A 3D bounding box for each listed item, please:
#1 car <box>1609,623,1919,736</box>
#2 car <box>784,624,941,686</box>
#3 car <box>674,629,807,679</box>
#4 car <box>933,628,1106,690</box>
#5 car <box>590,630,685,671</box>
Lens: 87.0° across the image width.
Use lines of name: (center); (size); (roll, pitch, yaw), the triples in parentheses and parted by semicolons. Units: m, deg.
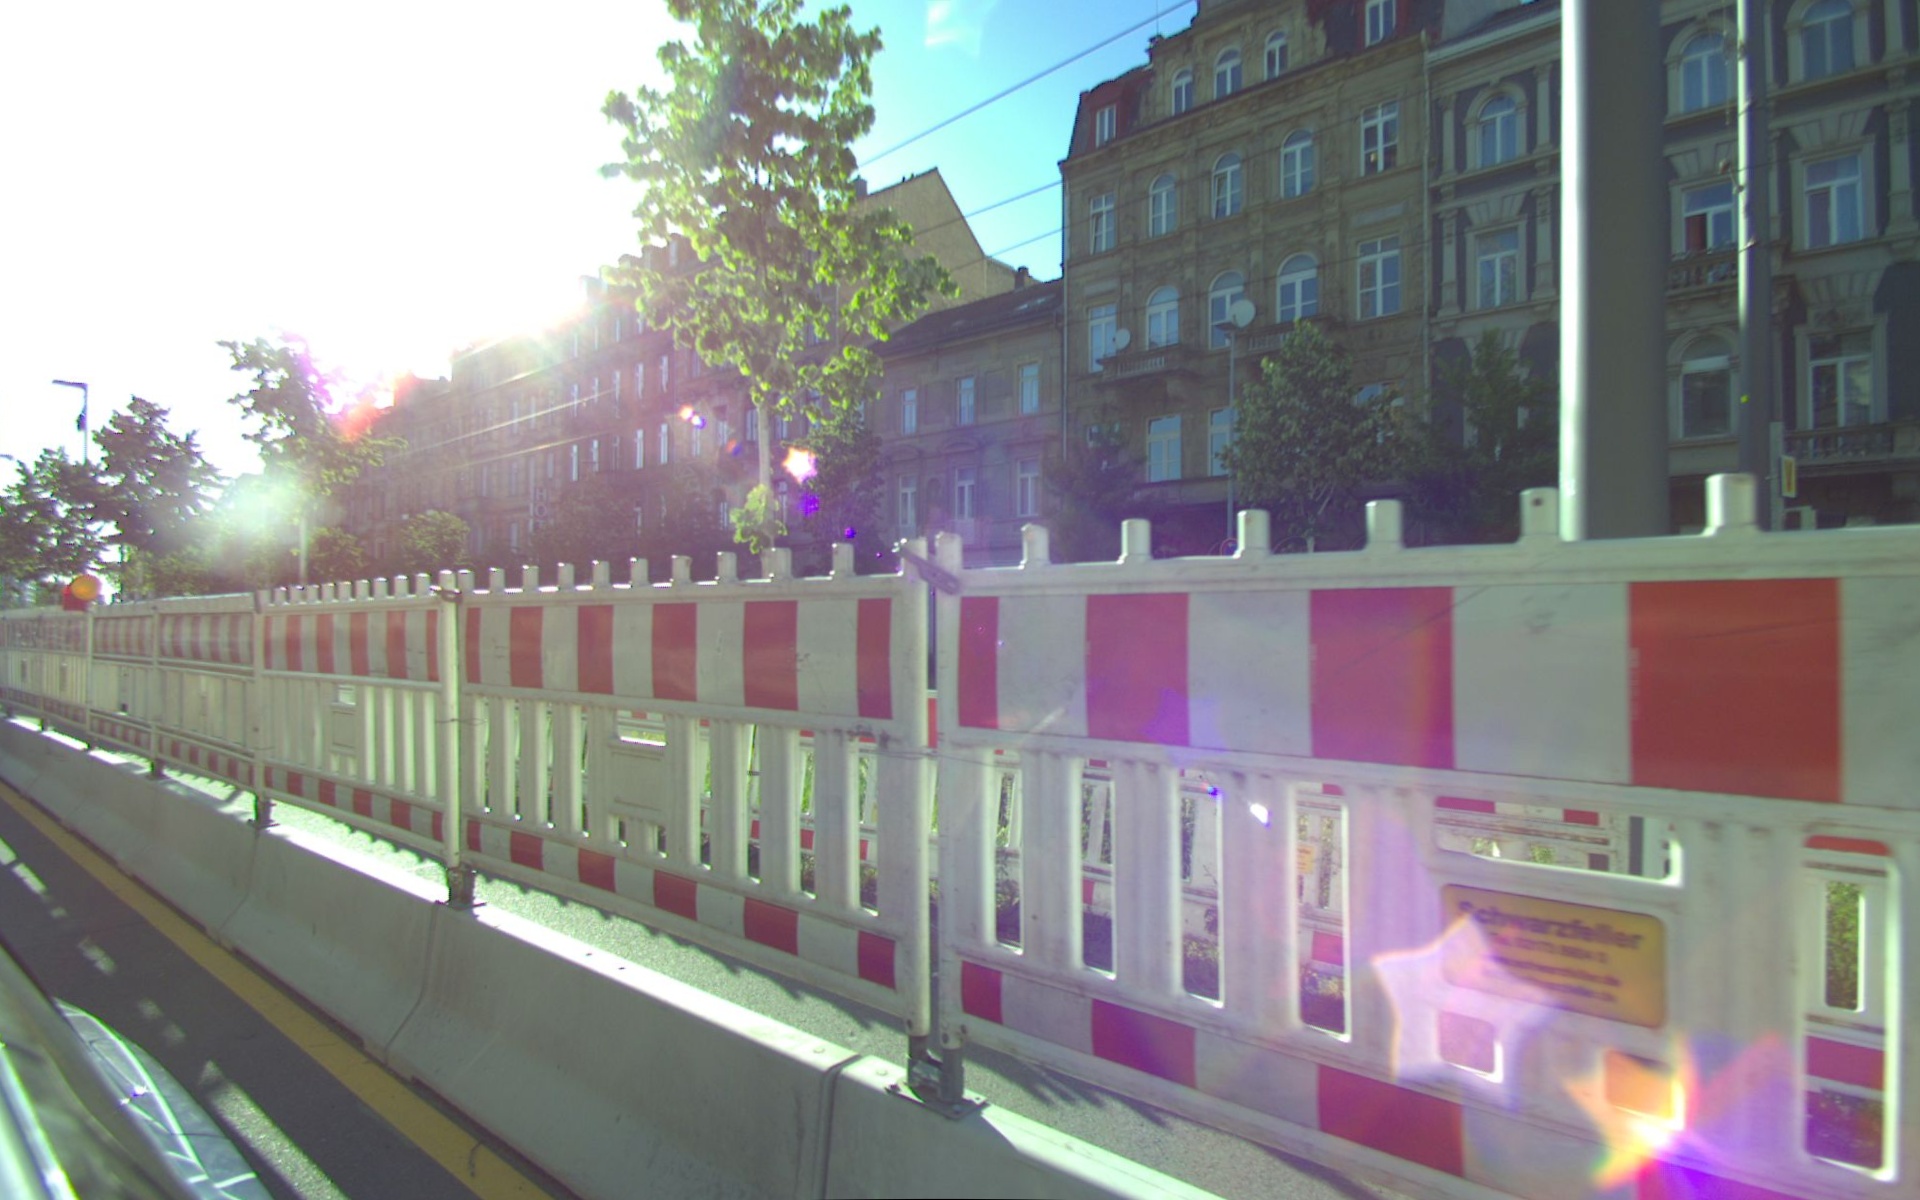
car: (14.105, 1.270, 17.541); (4.544, 1.671, 1.917); (-1, 0, 43)
car: (-3.090, 1.625, 31.346); (4.884, 1.710, 1.973); (-1, 0, 40)
car: (-7.756, 1.840, 35.536); (4.982, 1.549, 1.973); (-1, 0, 41)
car: (1.543, 1.517, 27.163); (4.305, 1.449, 1.973); (-1, 0, 40)
car: (-12.759, 1.948, 39.965); (4.026, 1.490, 1.730); (-1, 0, 41)
